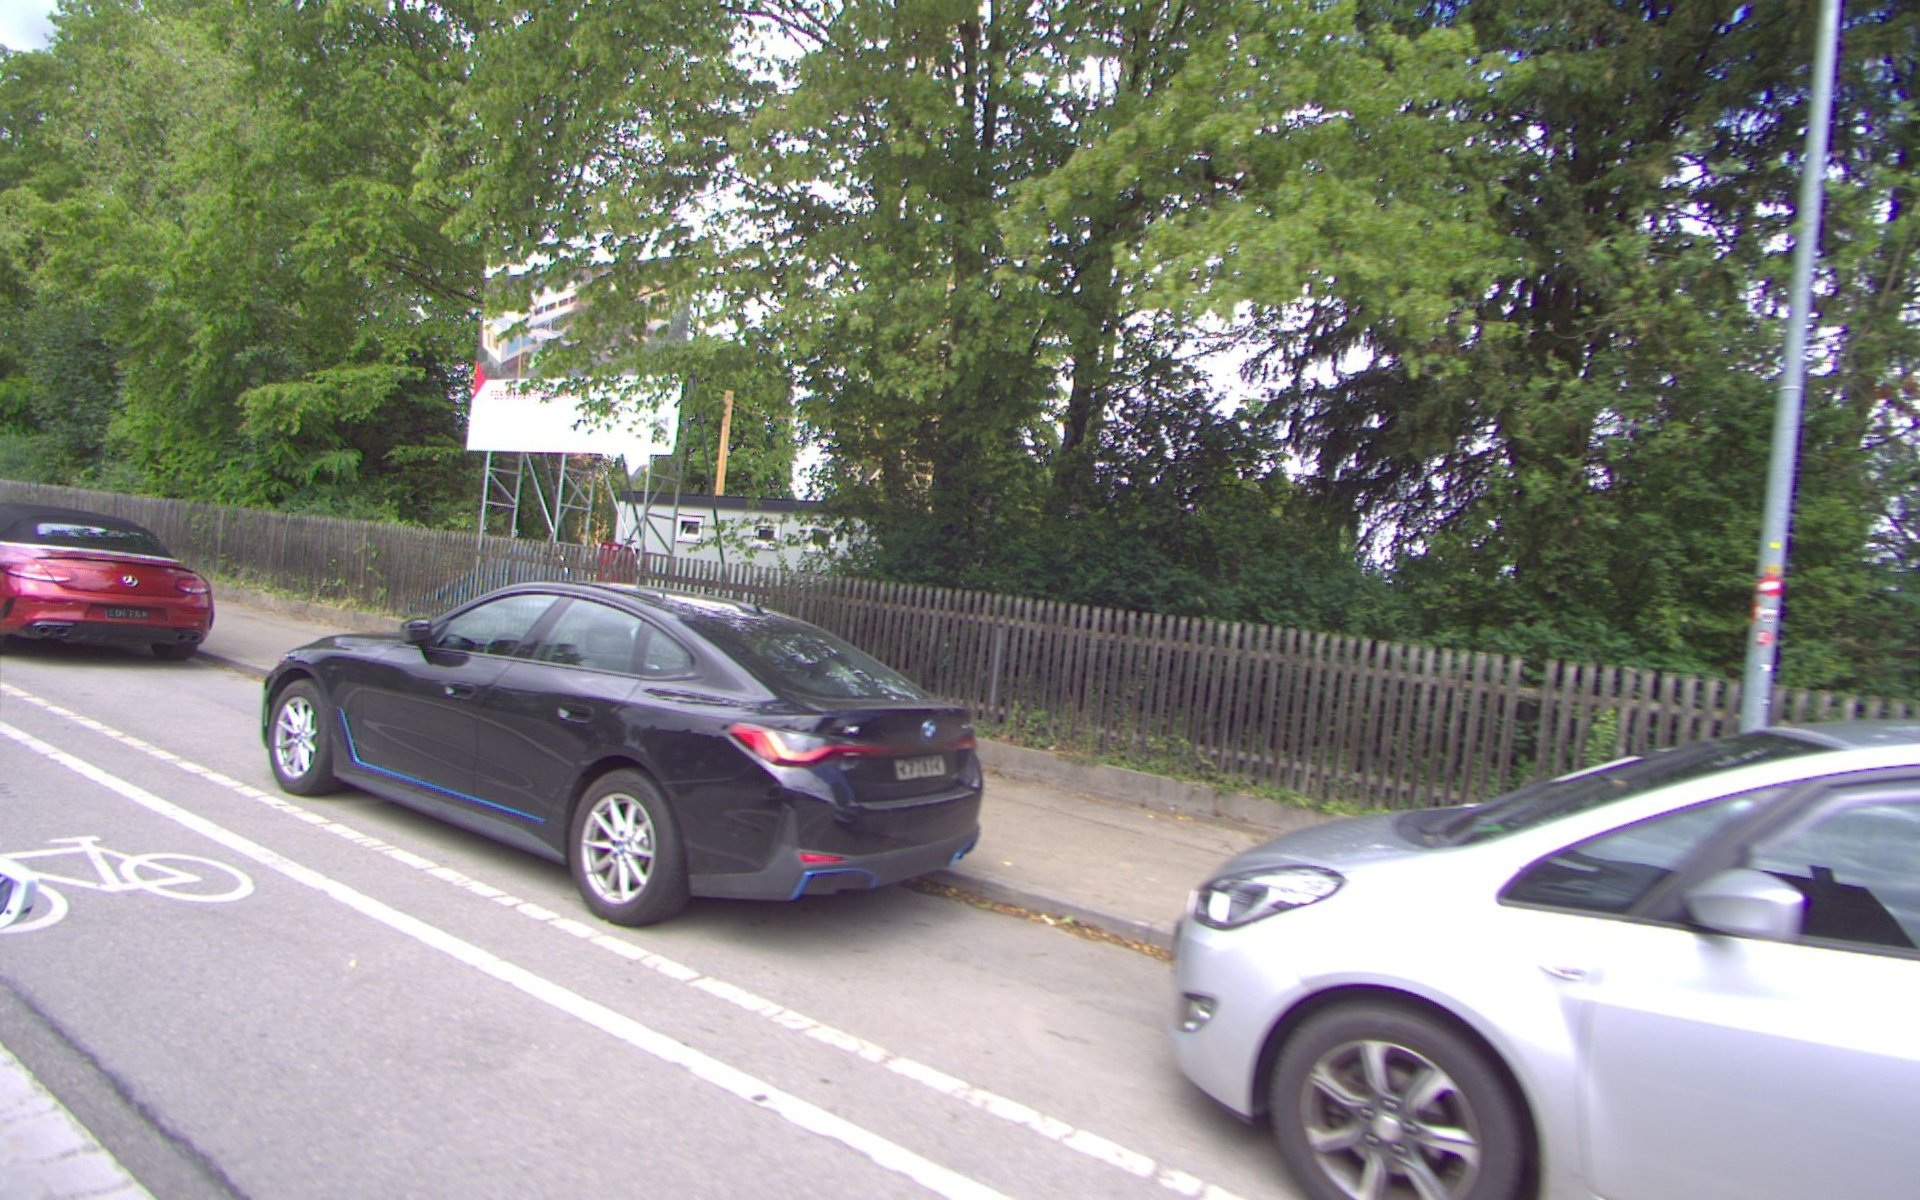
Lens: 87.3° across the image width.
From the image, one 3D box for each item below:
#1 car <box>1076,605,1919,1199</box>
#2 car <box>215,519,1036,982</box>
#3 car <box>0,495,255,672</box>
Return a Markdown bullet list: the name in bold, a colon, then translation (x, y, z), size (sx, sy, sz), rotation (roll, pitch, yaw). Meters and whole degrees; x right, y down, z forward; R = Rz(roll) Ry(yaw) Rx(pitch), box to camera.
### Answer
- **car**: translation (2.772, 1.105, 2.820), size (4.346, 1.609, 1.866), rotation (7, 0, 30)
- **car**: translation (-2.094, 0.558, 5.801), size (4.602, 1.533, 1.819), rotation (6, -1, 31)
- **car**: translation (-9.635, -0.303, 10.645), size (4.369, 1.430, 1.863), rotation (8, -1, 31)
